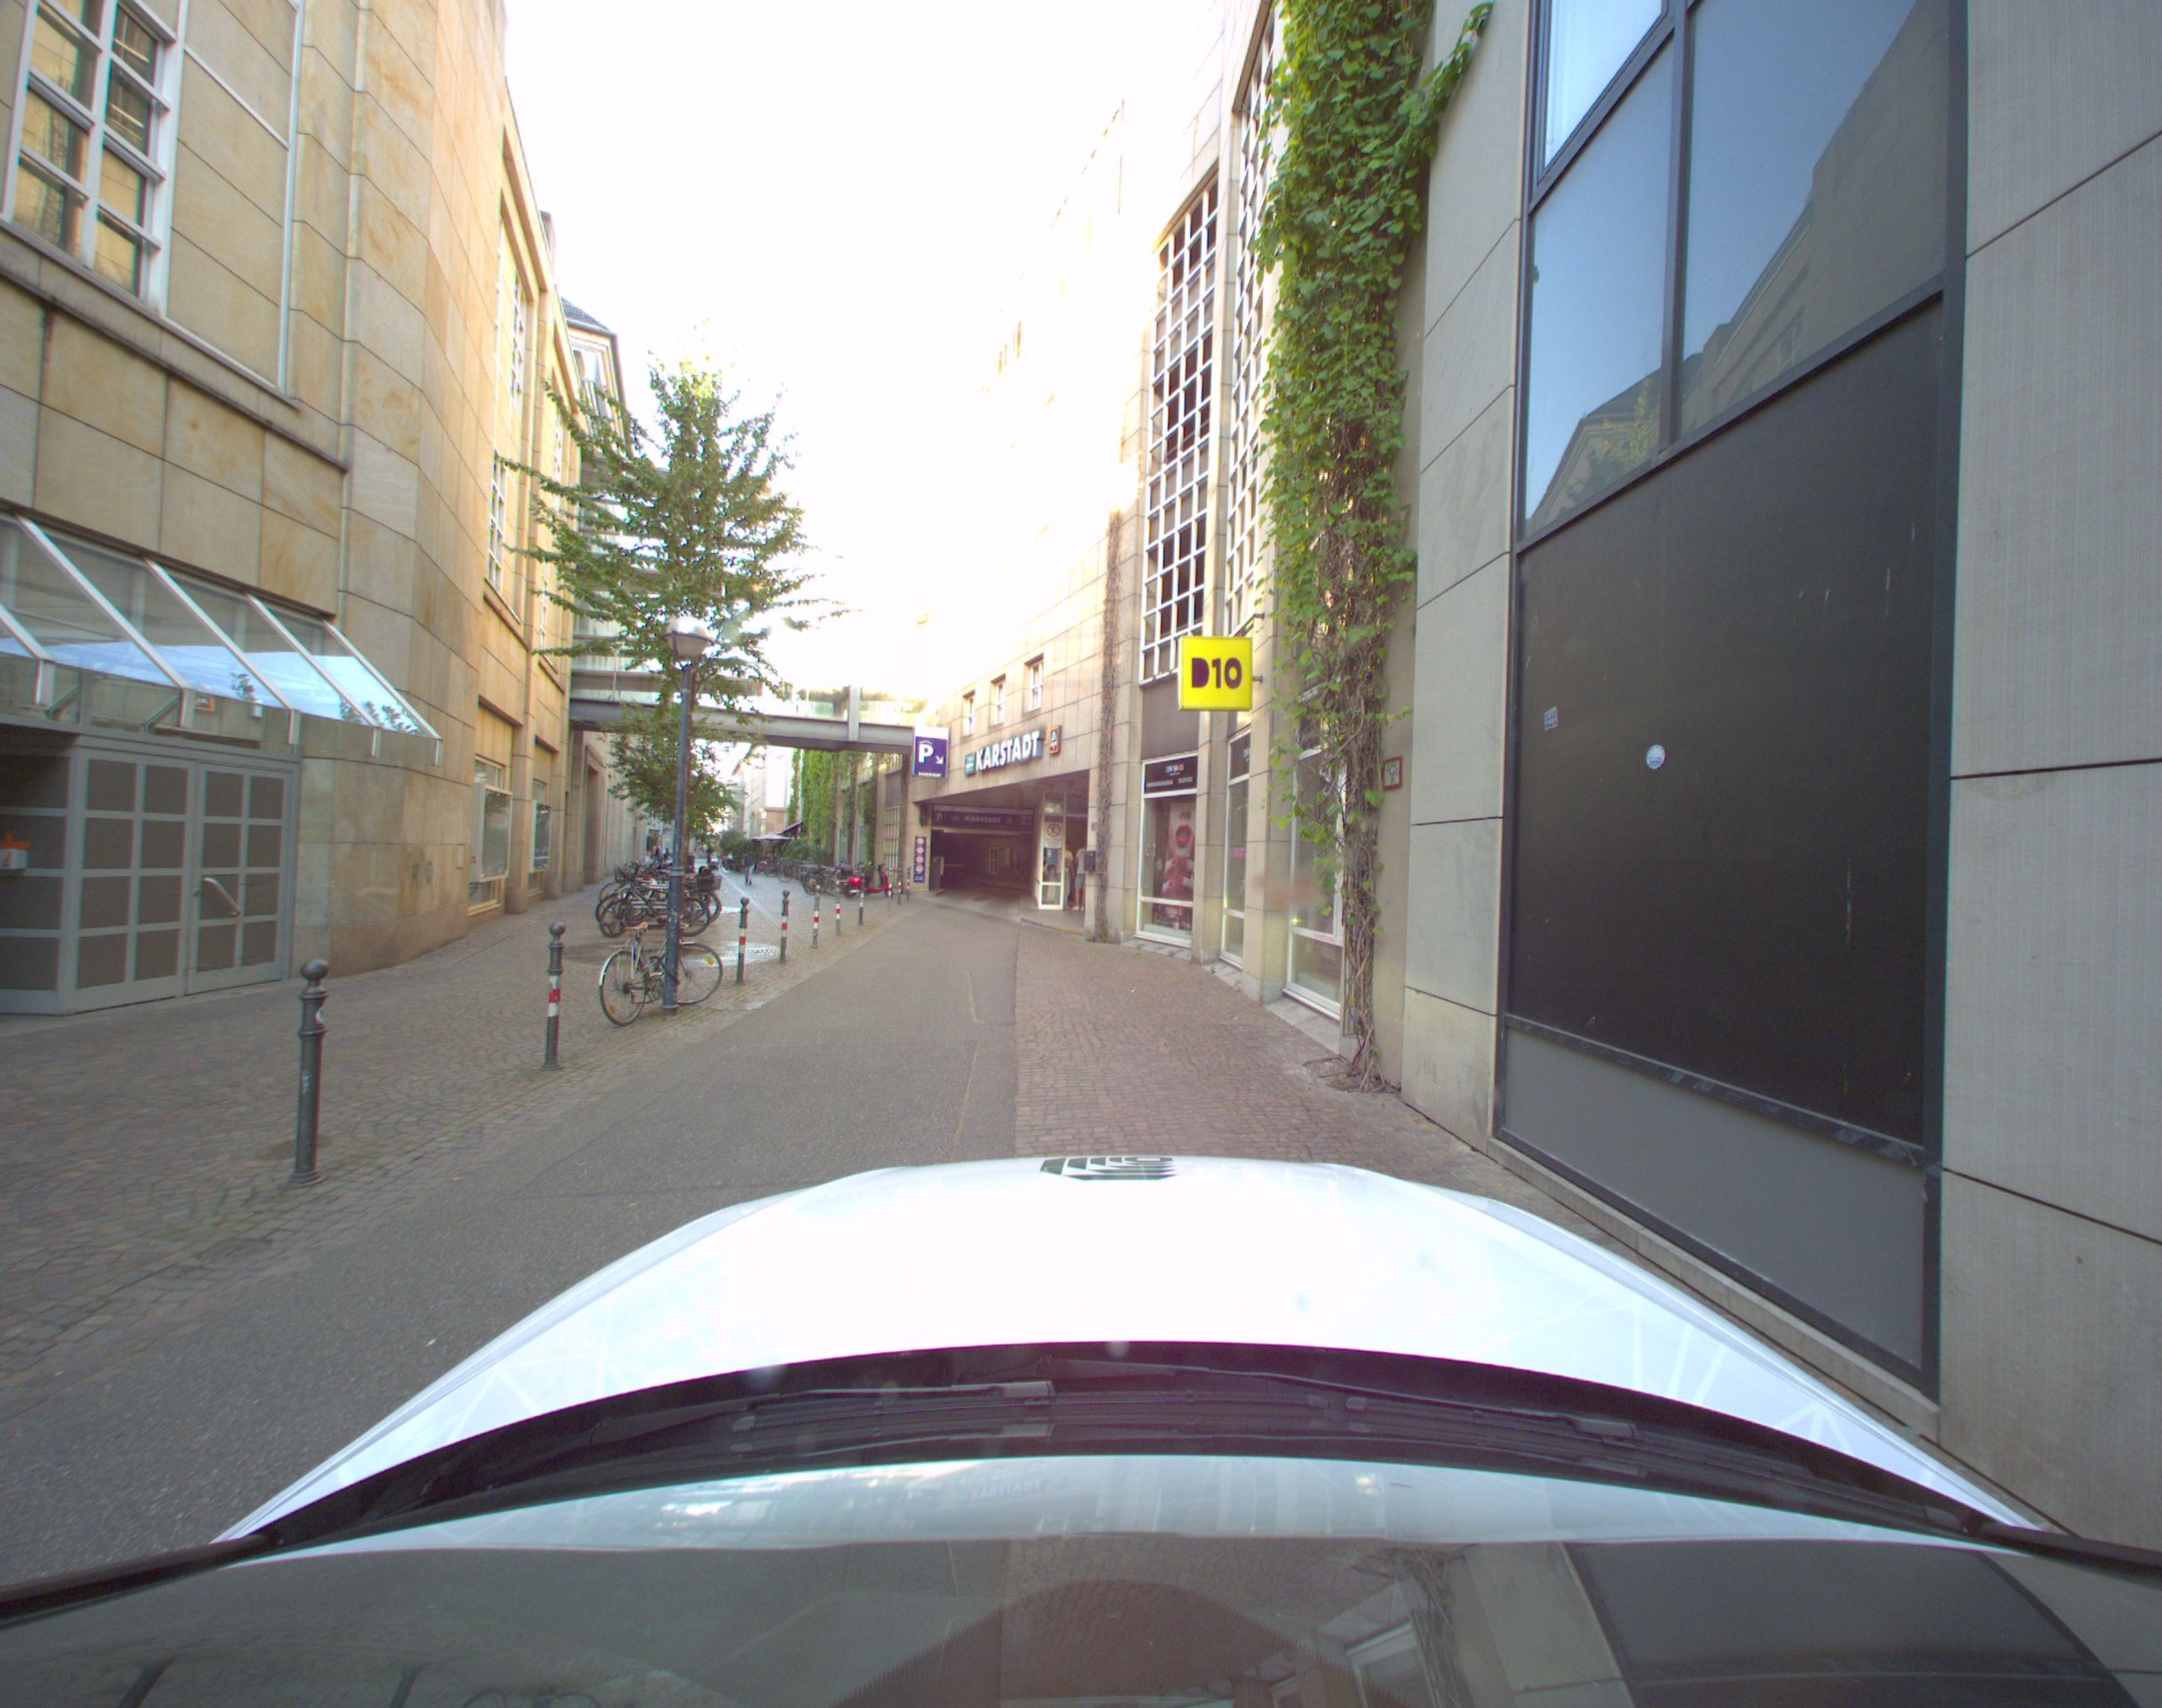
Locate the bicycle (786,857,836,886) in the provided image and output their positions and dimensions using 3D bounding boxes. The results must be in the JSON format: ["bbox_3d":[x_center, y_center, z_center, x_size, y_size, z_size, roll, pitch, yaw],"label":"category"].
[{"bbox_3d":[-11.589,0.734,34.993,2.003,1.182,0.688,0,0,-24],"label":"bicycle"}]

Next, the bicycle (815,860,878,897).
[{"bbox_3d":[-8.035,0.822,27.873,2.003,1.182,0.690,0,0,-24],"label":"bicycle"}]

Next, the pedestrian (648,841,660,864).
[{"bbox_3d":[-34.169,-0.106,65.111,0.778,1.804,0.629,1,-1,-25],"label":"pedestrian"}]

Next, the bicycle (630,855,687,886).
[{"bbox_3d":[-16.725,0.639,32.288,1.920,1.182,0.691,2,-1,-22],"label":"bicycle"}]

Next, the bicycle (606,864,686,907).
[{"bbox_3d":[-12.506,0.909,23.460,1.920,1.182,0.691,2,-1,-22],"label":"bicycle"}]

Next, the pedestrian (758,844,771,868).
[{"bbox_3d":[-23.743,0.132,61.120,0.778,1.804,0.761,2,-1,-25],"label":"pedestrian"}]

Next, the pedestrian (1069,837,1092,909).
[{"bbox_3d":[-0.009,0.500,21.564,0.540,1.861,0.408,2,0,1],"label":"pedestrian"}]

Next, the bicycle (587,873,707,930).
[{"bbox_3d":[-8.138,0.886,15.370,1.922,0.994,0.690,2,0,-25],"label":"bicycle"}]

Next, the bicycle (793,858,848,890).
[{"bbox_3d":[-10.241,0.769,32.004,2.003,1.182,0.796,0,0,-24],"label":"bicycle"}]

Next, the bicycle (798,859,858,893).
[{"bbox_3d":[-9.150,0.794,29.513,2.003,1.182,0.796,0,0,-24],"label":"bicycle"}]

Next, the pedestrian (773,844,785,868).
[{"bbox_3d":[-22.737,0.162,61.254,0.778,1.804,0.761,2,-1,-25],"label":"pedestrian"}]

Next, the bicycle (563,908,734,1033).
[{"bbox_3d":[-4.149,1.071,7.966,0.502,0.966,1.699,1,0,10],"label":"bicycle"}]

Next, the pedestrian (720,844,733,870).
[{"bbox_3d":[-24.615,0.220,56.518,0.769,1.804,0.770,1,-1,-26],"label":"pedestrian"}]

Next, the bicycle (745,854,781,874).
[{"bbox_3d":[-19.009,0.573,48.727,2.003,1.182,0.688,0,0,-24],"label":"bicycle"}]

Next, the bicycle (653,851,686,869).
[{"bbox_3d":[-28.094,0.412,55.615,1.920,1.182,0.691,2,-1,-22],"label":"bicycle"}]

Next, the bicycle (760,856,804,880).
[{"bbox_3d":[-14.670,0.673,39.965,2.003,1.182,0.688,0,0,-24],"label":"bicycle"}]

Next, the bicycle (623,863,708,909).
[{"bbox_3d":[-11.089,0.853,21.809,1.920,1.182,0.691,2,-1,-22],"label":"bicycle"}]

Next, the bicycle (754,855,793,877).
[{"bbox_3d":[-16.776,0.655,44.437,2.003,1.182,0.688,0,0,-24],"label":"bicycle"}]

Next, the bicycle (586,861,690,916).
[{"bbox_3d":[-9.866,0.774,18.222,1.920,1.182,0.691,2,-1,-22],"label":"bicycle"}]

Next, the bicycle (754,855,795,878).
[{"bbox_3d":[-16.438,0.674,43.656,2.003,1.182,0.688,0,0,-24],"label":"bicycle"}]

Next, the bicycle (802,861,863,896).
[{"bbox_3d":[-8.743,0.840,28.668,2.003,1.182,0.690,0,0,-24],"label":"bicycle"}]

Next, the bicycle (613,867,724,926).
[{"bbox_3d":[-8.208,0.841,16.286,1.922,1.101,0.690,2,0,-25],"label":"bicycle"}]

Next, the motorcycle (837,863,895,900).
[{"bbox_3d":[-6.941,0.864,26.297,1.753,1.155,0.590,0,0,-22],"label":"motorcycle"}]

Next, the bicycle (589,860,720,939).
[{"bbox_3d":[-7.287,0.768,14.035,1.922,1.261,0.802,2,0,-25],"label":"bicycle"}]

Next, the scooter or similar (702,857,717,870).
[{"bbox_3d":[-25.378,0.667,55.696,0.896,0.843,0.904,1,0,-26],"label":"scooter or similar"}]

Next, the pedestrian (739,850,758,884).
[{"bbox_3d":[-14.958,0.592,36.637,0.752,1.509,0.632,1,-1,-27],"label":"pedestrian"}]

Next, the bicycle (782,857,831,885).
[{"bbox_3d":[-12.117,0.732,36.019,2.003,1.182,0.688,0,0,-24],"label":"bicycle"}]

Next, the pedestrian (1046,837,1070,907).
[{"bbox_3d":[-0.612,0.479,21.744,0.540,1.846,0.408,2,0,1],"label":"pedestrian"}]

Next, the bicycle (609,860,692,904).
[{"bbox_3d":[-11.856,0.778,22.478,1.920,1.182,0.691,2,-1,-22],"label":"bicycle"}]

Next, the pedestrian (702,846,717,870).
[{"bbox_3d":[-25.784,0.256,56.543,0.896,1.639,0.904,1,-1,-26],"label":"pedestrian"}]

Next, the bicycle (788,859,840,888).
[{"bbox_3d":[-11.071,0.795,33.801,2.003,1.182,0.688,0,0,-24],"label":"bicycle"}]

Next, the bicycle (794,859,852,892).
[{"bbox_3d":[-9.690,0.802,30.598,2.003,1.182,0.796,0,0,-24],"label":"bicycle"}]

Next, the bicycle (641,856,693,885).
[{"bbox_3d":[-17.787,0.700,35.033,1.920,1.182,0.691,2,-1,-22],"label":"bicycle"}]

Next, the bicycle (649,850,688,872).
[{"bbox_3d":[-23.486,0.411,46.392,1.920,1.182,0.691,2,-1,-22],"label":"bicycle"}]

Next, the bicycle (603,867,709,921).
[{"bbox_3d":[-9.032,0.849,17.398,1.920,1.101,0.691,2,0,-22],"label":"bicycle"}]

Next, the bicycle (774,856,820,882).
[{"bbox_3d":[-13.354,0.684,38.268,2.003,1.182,0.688,0,0,-24],"label":"bicycle"}]

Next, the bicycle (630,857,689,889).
[{"bbox_3d":[-16.303,0.746,31.518,1.920,1.182,0.691,2,-1,-22],"label":"bicycle"}]

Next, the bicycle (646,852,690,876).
[{"bbox_3d":[-21.569,0.513,42.562,1.920,1.182,0.691,2,-1,-22],"label":"bicycle"}]

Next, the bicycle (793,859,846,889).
[{"bbox_3d":[-10.577,0.804,32.963,2.003,1.182,0.688,0,0,-24],"label":"bicycle"}]
